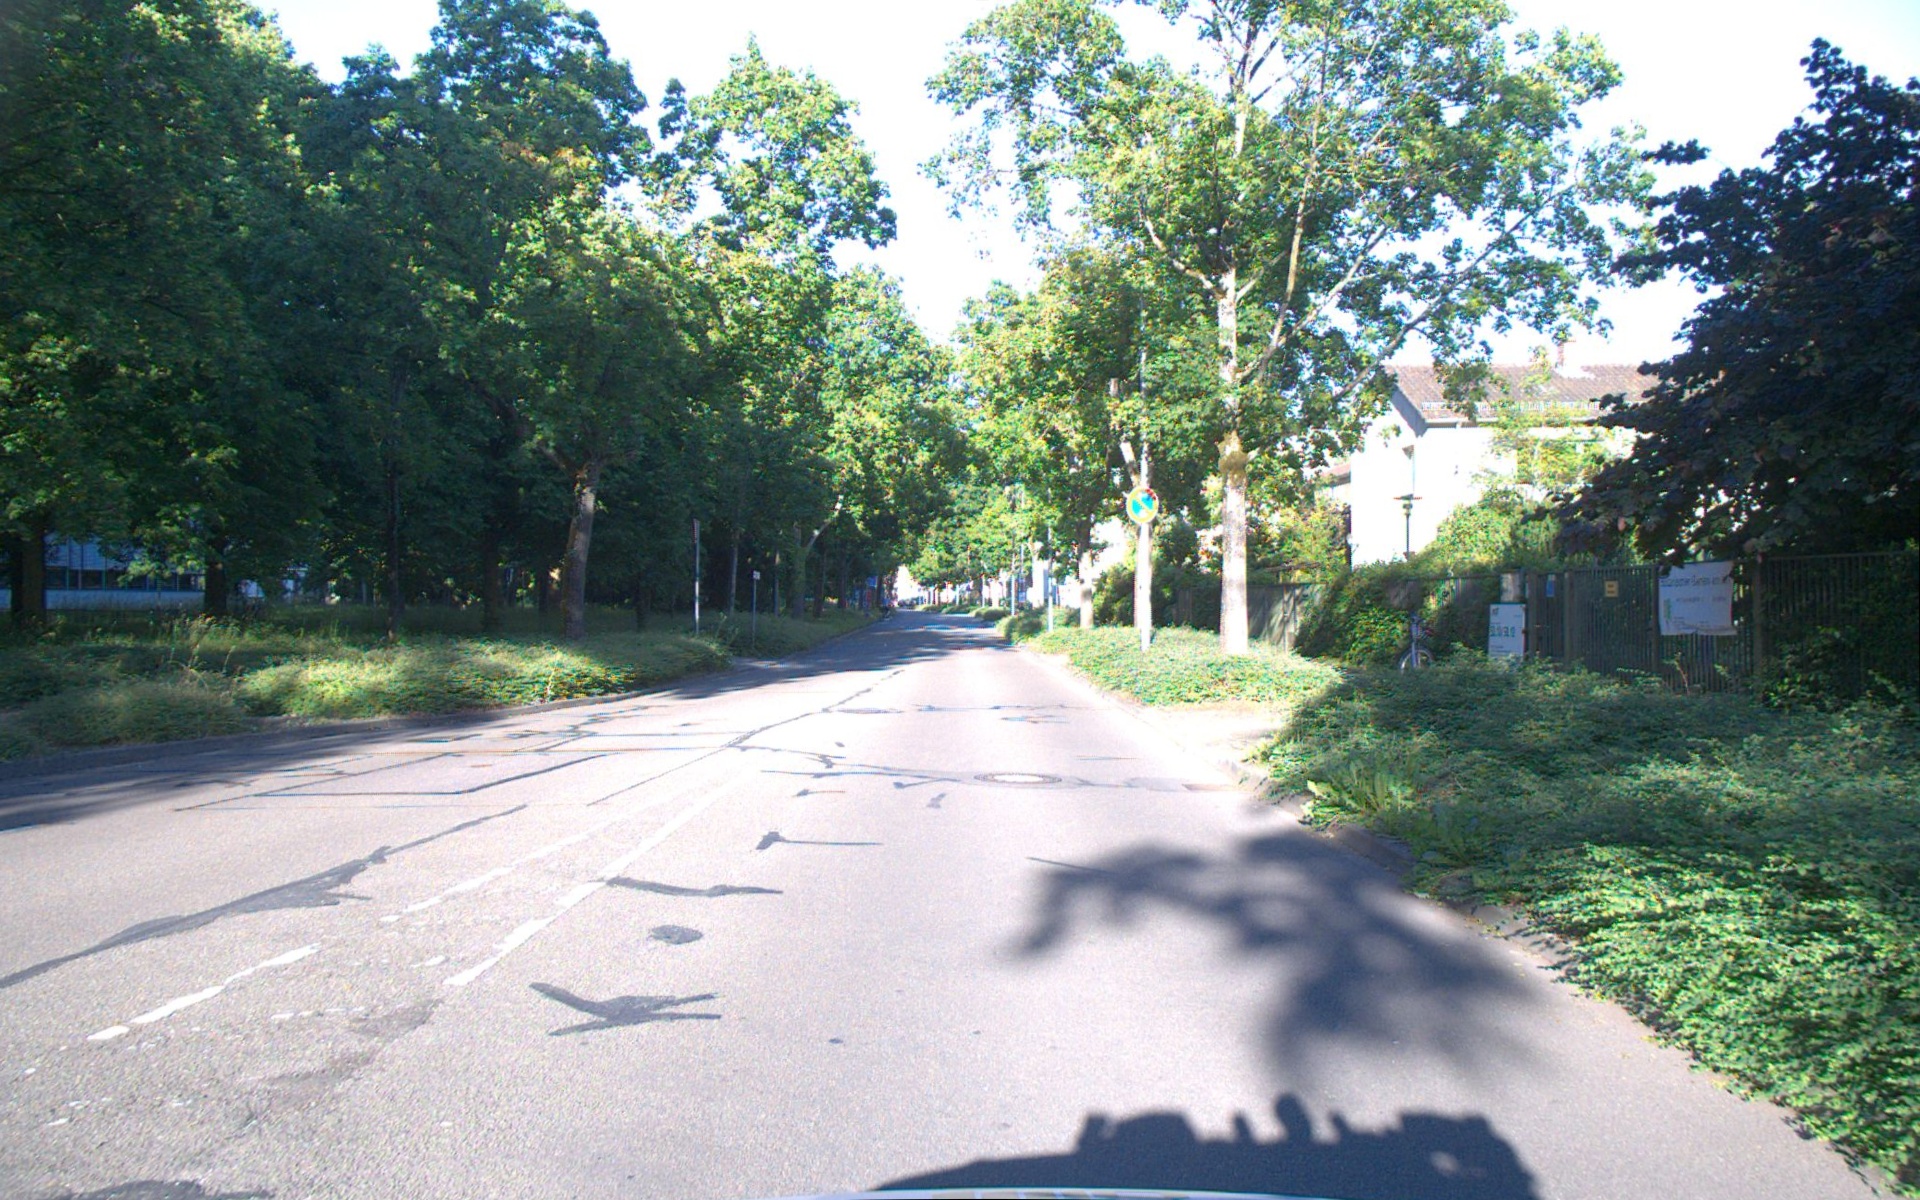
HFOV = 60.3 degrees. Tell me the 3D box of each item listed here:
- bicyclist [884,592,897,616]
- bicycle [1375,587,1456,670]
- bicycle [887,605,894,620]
[{"bbox_3d":[-4.908,0.293,117.165,0.849,1.669,1.114,1,1,-1],"label":"bicyclist"},{"bbox_3d":[7.231,0.435,26.168,0.866,1.221,2.325,-2,0,24],"label":"bicycle"},{"bbox_3d":[-4.900,0.866,117.169,0.430,0.995,1.661,0,1,-1],"label":"bicycle"}]
